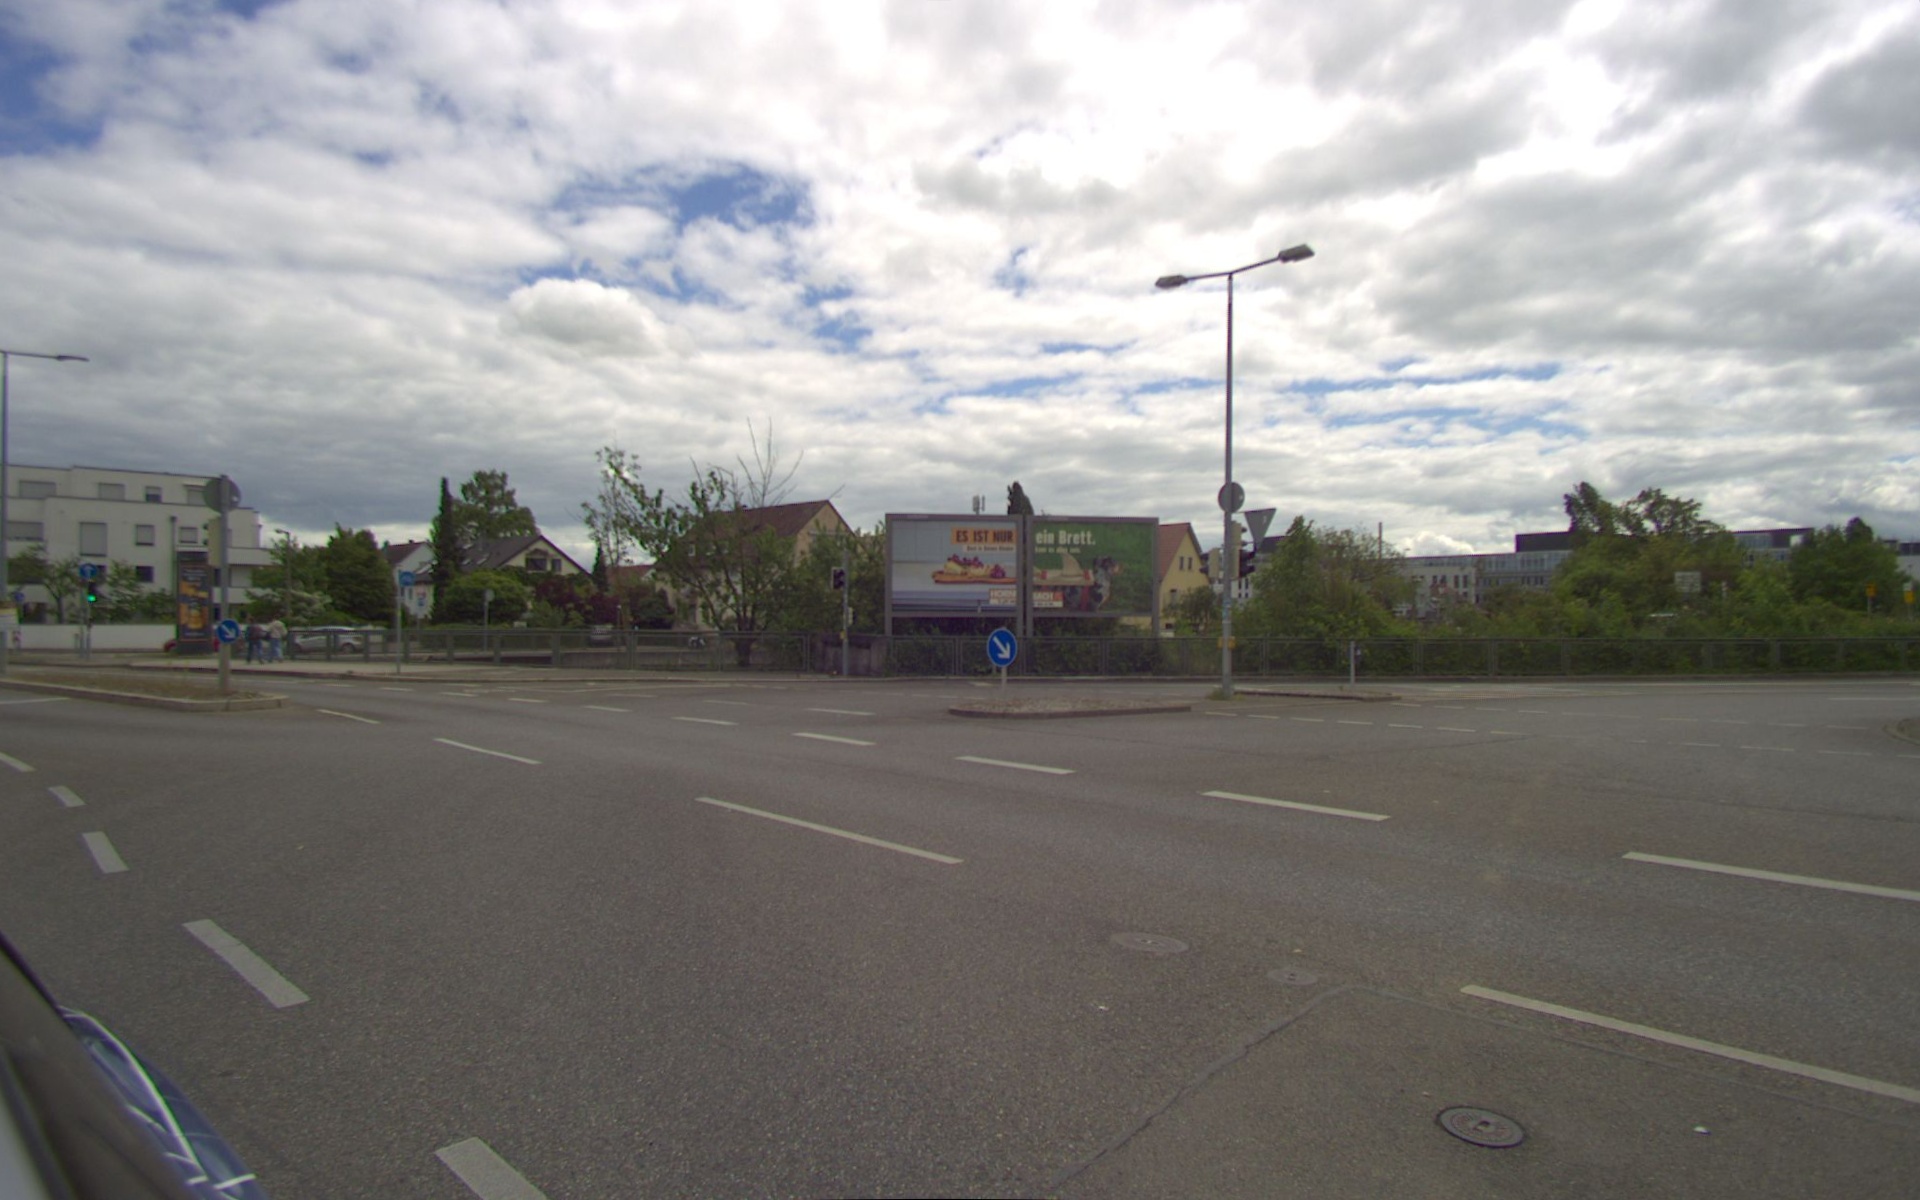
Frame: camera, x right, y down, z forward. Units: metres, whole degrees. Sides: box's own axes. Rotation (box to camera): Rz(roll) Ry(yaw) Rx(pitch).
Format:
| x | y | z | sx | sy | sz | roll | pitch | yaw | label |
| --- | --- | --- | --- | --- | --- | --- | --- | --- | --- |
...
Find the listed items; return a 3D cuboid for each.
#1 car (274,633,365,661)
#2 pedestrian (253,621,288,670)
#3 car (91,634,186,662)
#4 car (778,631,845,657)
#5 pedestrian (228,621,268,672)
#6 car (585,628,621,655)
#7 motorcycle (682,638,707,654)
| x | y | z | sx | sy | sz | roll | pitch | yaw | label |
| --- | --- | --- | --- | --- | --- | --- | --- | --- | --- |
| -36.767 | 2.717 | 58.213 | 4.060 | 1.547 | 1.652 | 1 | -3 | -14 | car |
| -23.704 | 1.570 | 34.802 | 0.828 | 1.645 | 0.652 | -1 | 0 | 25 | pedestrian |
| -45.372 | 2.655 | 55.990 | 3.640 | 1.458 | 1.780 | 1 | -1 | -16 | car |
| -10.014 | 2.938 | 68.046 | 4.304 | 1.619 | 2.005 | 0 | -1 | -12 | car |
| -24.016 | 1.559 | 34.147 | 1.064 | 1.645 | 0.652 | -1 | 0 | 25 | pedestrian |
| -25.016 | 2.899 | 70.939 | 1.757 | 1.592 | 4.009 | -3 | 1 | -11 | car |
| -17.516 | 3.043 | 66.798 | 0.692 | 1.007 | 2.125 | 6 | -5 | -40 | motorcycle |
